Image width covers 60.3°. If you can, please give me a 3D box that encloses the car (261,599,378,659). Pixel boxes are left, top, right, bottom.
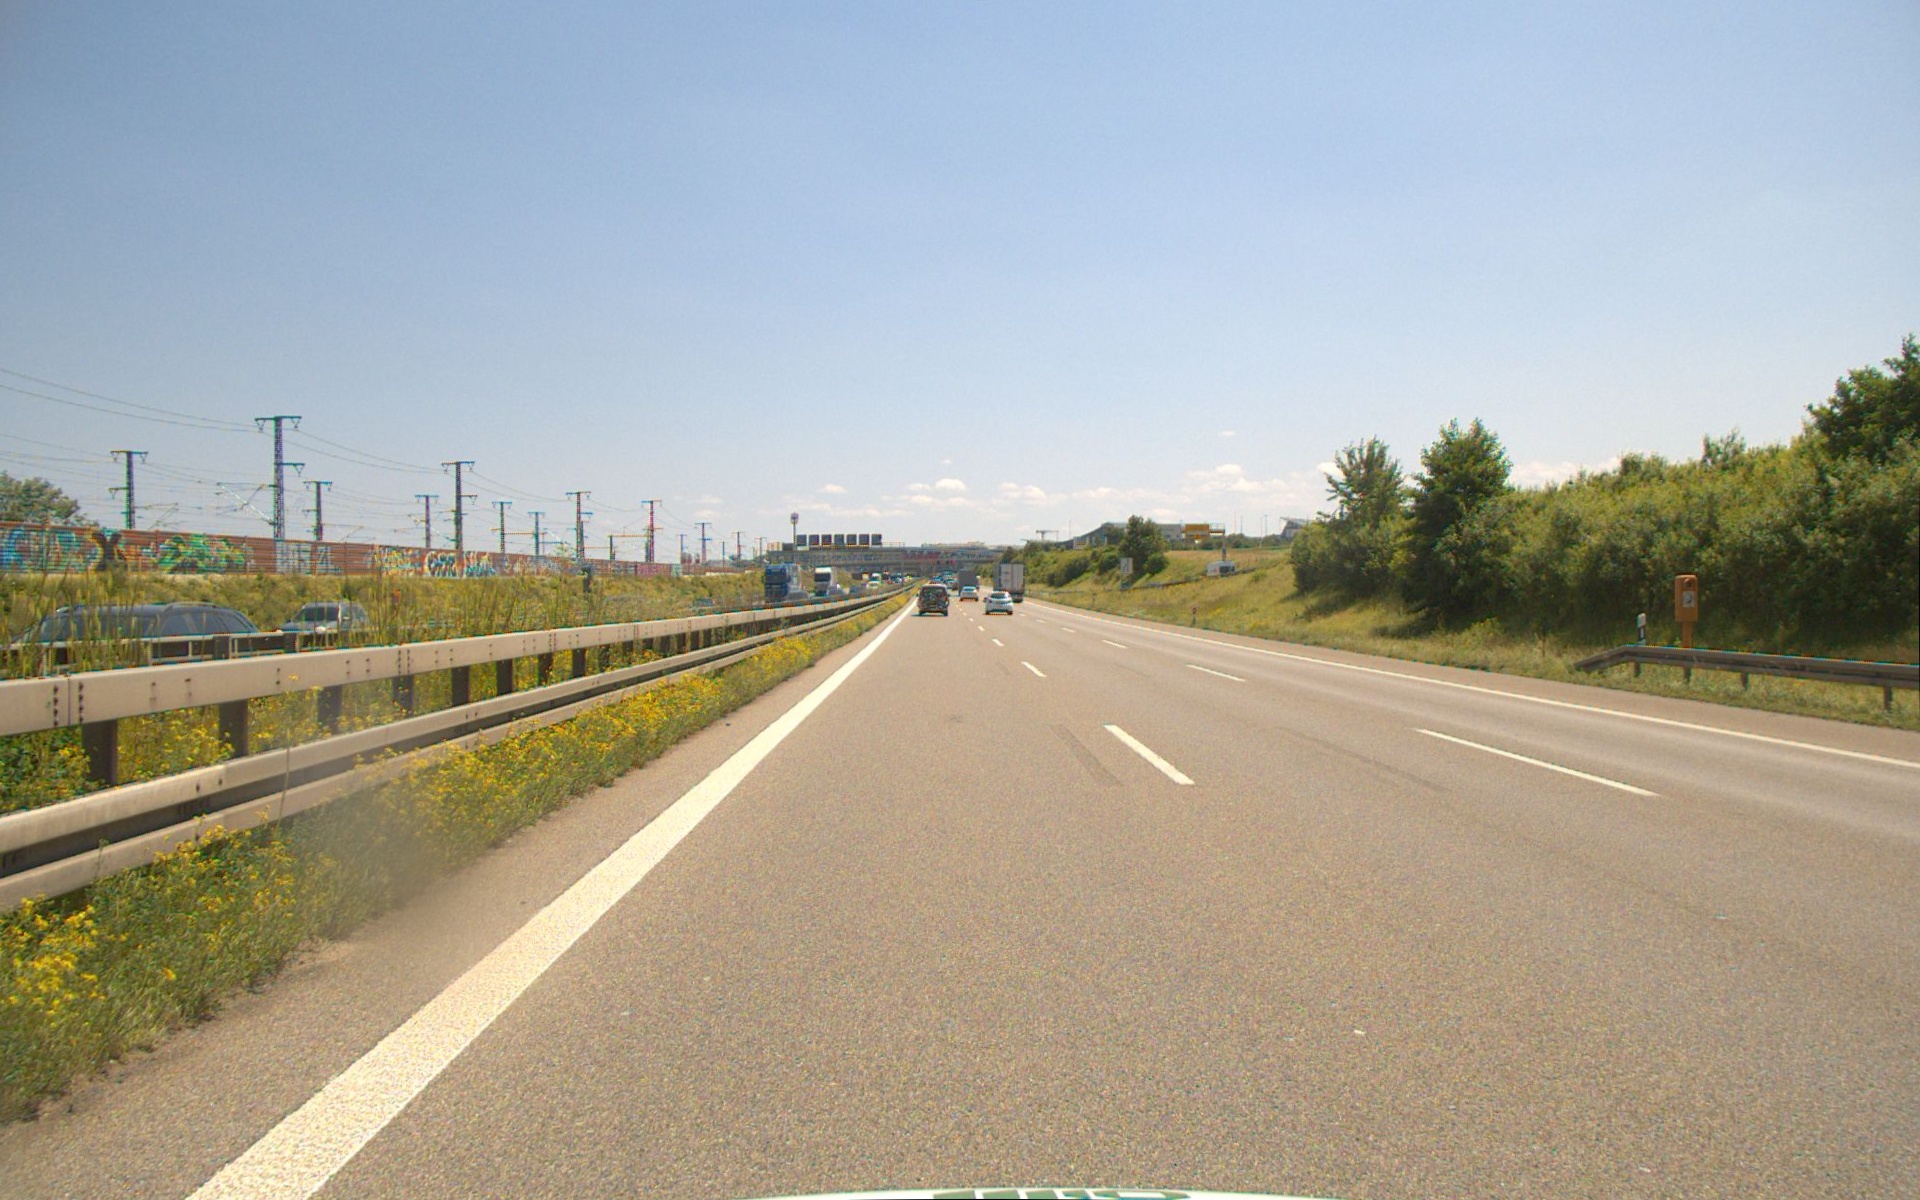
[{"bbox_3d":[-20.153,0.885,52.246,1.953,1.756,4.512,1,0,-1],"label":"car"}]

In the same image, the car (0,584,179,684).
[{"bbox_3d":[-19.359,0.730,36.742,1.953,2.049,4.308,1,-1,-1],"label":"car"}]

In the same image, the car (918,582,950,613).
[{"bbox_3d":[-1.554,-0.156,98.042,1.842,1.806,3.999,-1,0,-1],"label":"car"}]

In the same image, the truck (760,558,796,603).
[{"bbox_3d":[-18.475,-1.980,168.215,2.829,4.484,7.502,-1,1,-1],"label":"truck"}]

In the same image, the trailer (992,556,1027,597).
[{"bbox_3d":[5.059,-2.418,169.759,3.113,4.130,9.438,-1,1,-1],"label":"trailer"}]

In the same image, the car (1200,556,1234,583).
[{"bbox_3d":[24.442,-2.914,157.516,2.229,2.572,5.398,0,1,-2],"label":"car"}]

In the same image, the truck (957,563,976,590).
[{"bbox_3d":[0.864,-3.023,215.521,2.307,3.475,6.056,0,1,-1],"label":"truck"}]

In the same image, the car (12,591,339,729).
[{"bbox_3d":[-8.922,0.611,19.258,1.829,1.419,4.270,0,0,-1],"label":"car"}]

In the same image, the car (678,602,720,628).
[{"bbox_3d":[-15.870,0.907,100.645,1.953,1.513,3.931,-2,0,-1],"label":"car"}]

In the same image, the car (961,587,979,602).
[{"bbox_3d":[1.058,-0.591,172.439,1.842,1.553,4.000,1,0,0],"label":"car"}]

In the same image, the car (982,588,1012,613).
[{"bbox_3d":[2.372,0.037,105.779,1.842,1.553,4.001,1,0,2],"label":"car"}]

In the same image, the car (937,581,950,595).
[{"bbox_3d":[-2.547,-1.866,252.219,1.953,2.049,3.999,0,0,-2],"label":"car"}]
